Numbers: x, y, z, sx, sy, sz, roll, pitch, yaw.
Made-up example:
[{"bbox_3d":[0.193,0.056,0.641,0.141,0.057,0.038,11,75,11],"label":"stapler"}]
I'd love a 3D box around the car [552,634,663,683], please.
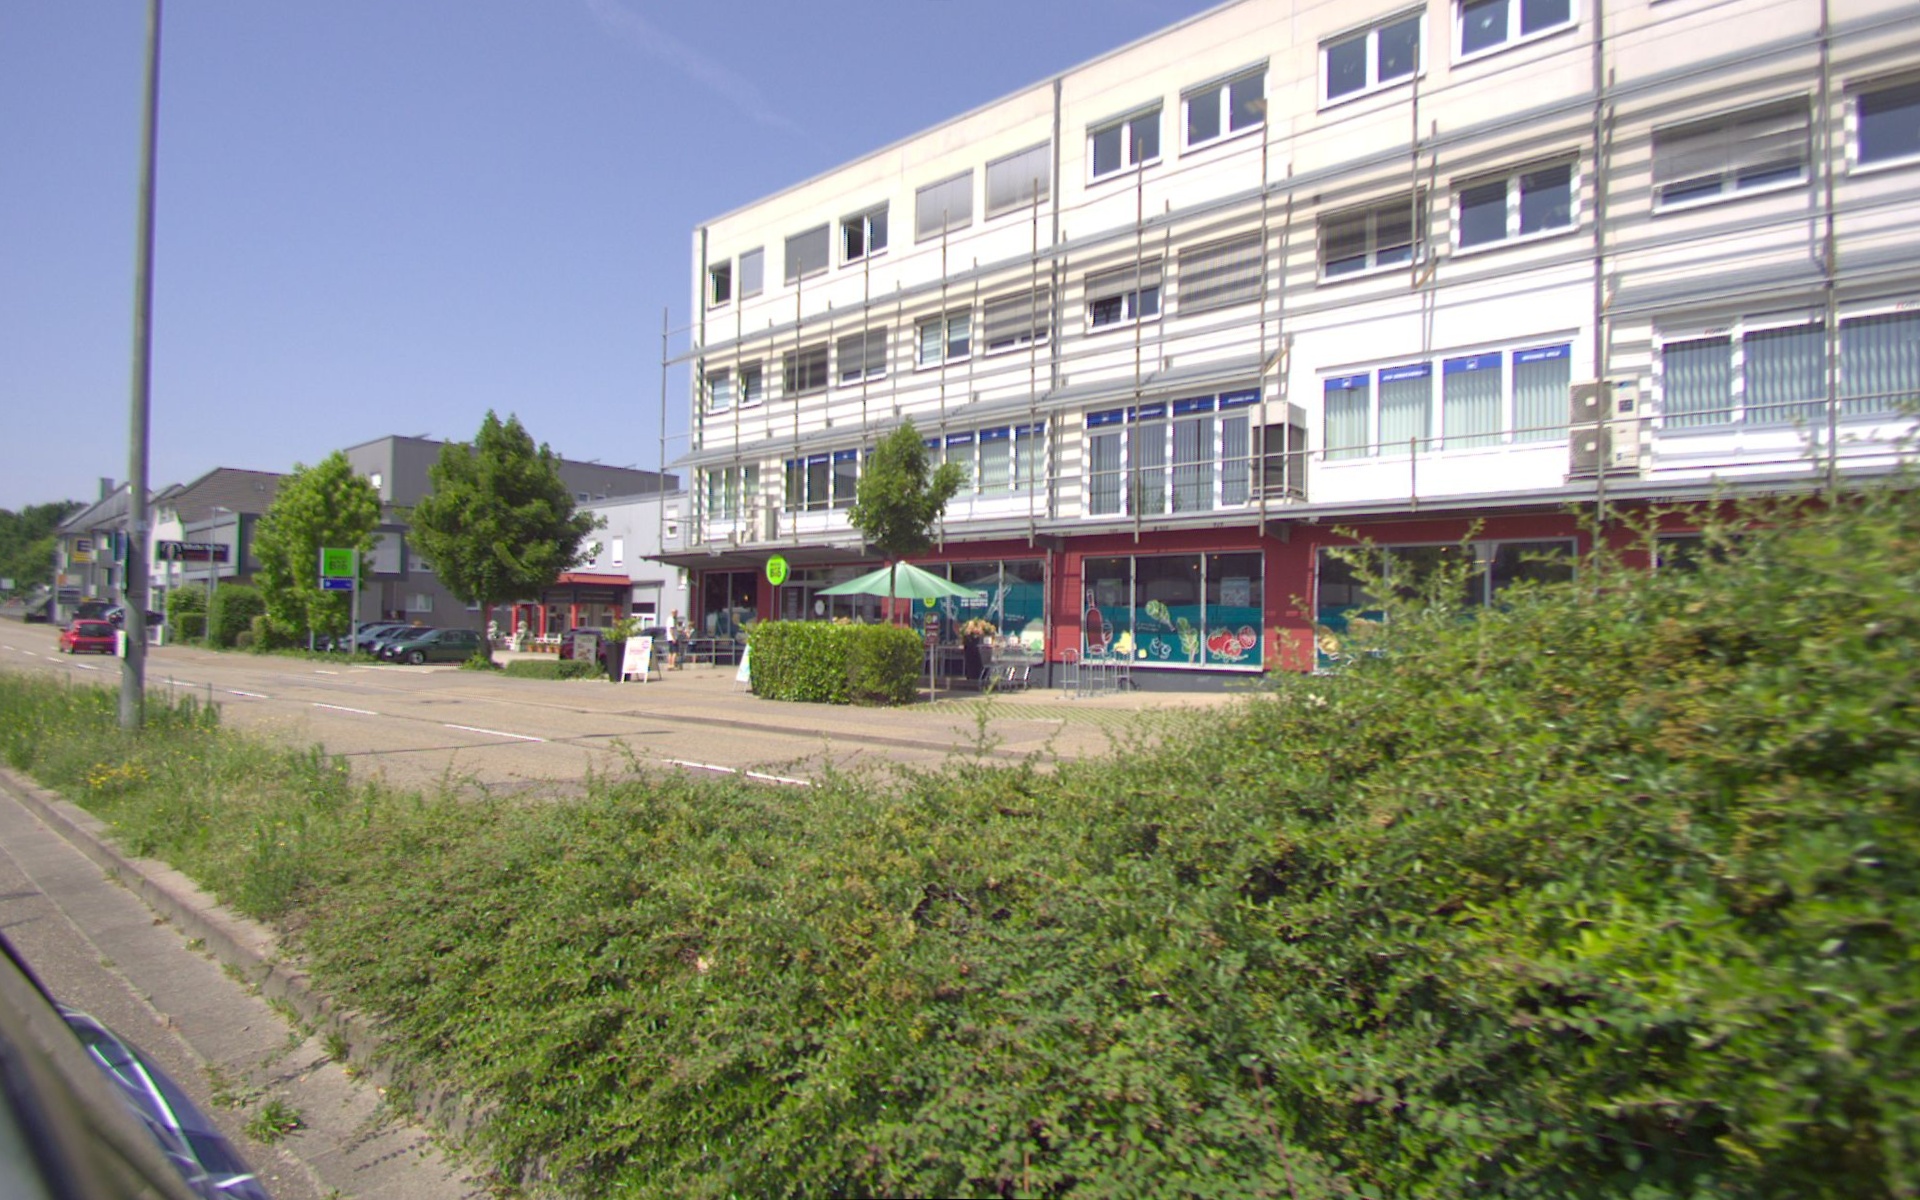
[{"bbox_3d":[-11.632,1.920,33.309,3.794,1.478,1.642,-1,-5,39],"label":"car"}]

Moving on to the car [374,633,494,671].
[{"bbox_3d":[-19.968,1.986,38.524,1.779,1.375,3.620,-1,-4,40],"label":"car"}]

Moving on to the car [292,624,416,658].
[{"bbox_3d":[-26.147,1.801,43.746,2.039,1.352,4.109,-1,-4,37],"label":"car"}]

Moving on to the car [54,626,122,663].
[{"bbox_3d":[-37.061,1.871,42.997,3.448,1.435,1.614,0,-3,41],"label":"car"}]

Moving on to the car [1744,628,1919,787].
[{"bbox_3d":[10.368,1.063,10.050,4.038,1.506,1.662,-1,-1,39],"label":"car"}]

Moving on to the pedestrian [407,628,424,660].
[{"bbox_3d":[-29.001,2.355,53.892,0.624,1.669,0.540,1,0,39],"label":"pedestrian"}]

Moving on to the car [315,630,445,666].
[{"bbox_3d":[-23.978,2.003,41.951,1.978,1.359,4.182,-1,-4,39],"label":"car"}]

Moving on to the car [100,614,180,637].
[{"bbox_3d":[-58.410,1.822,72.104,1.997,1.532,4.019,0,-2,36],"label":"car"}]

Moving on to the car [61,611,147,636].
[{"bbox_3d":[-63.332,1.689,74.946,1.852,1.639,4.561,0,2,39],"label":"car"}]

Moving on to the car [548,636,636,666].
[{"bbox_3d":[-19.283,2.682,53.168,1.959,1.478,3.938,-1,-3,34],"label":"car"}]

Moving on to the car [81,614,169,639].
[{"bbox_3d":[-60.646,1.877,73.587,1.746,1.508,4.572,0,2,31],"label":"car"}]

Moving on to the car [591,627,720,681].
[{"bbox_3d":[-10.825,1.890,35.795,5.161,1.747,1.742,-1,-5,40],"label":"car"}]

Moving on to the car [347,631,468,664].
[{"bbox_3d":[-22.015,1.914,40.416,1.858,1.240,3.800,-1,-4,39],"label":"car"}]

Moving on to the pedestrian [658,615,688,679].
[{"bbox_3d":[-8.555,1.390,30.200,0.498,1.881,0.668,-1,-3,40],"label":"pedestrian"}]
